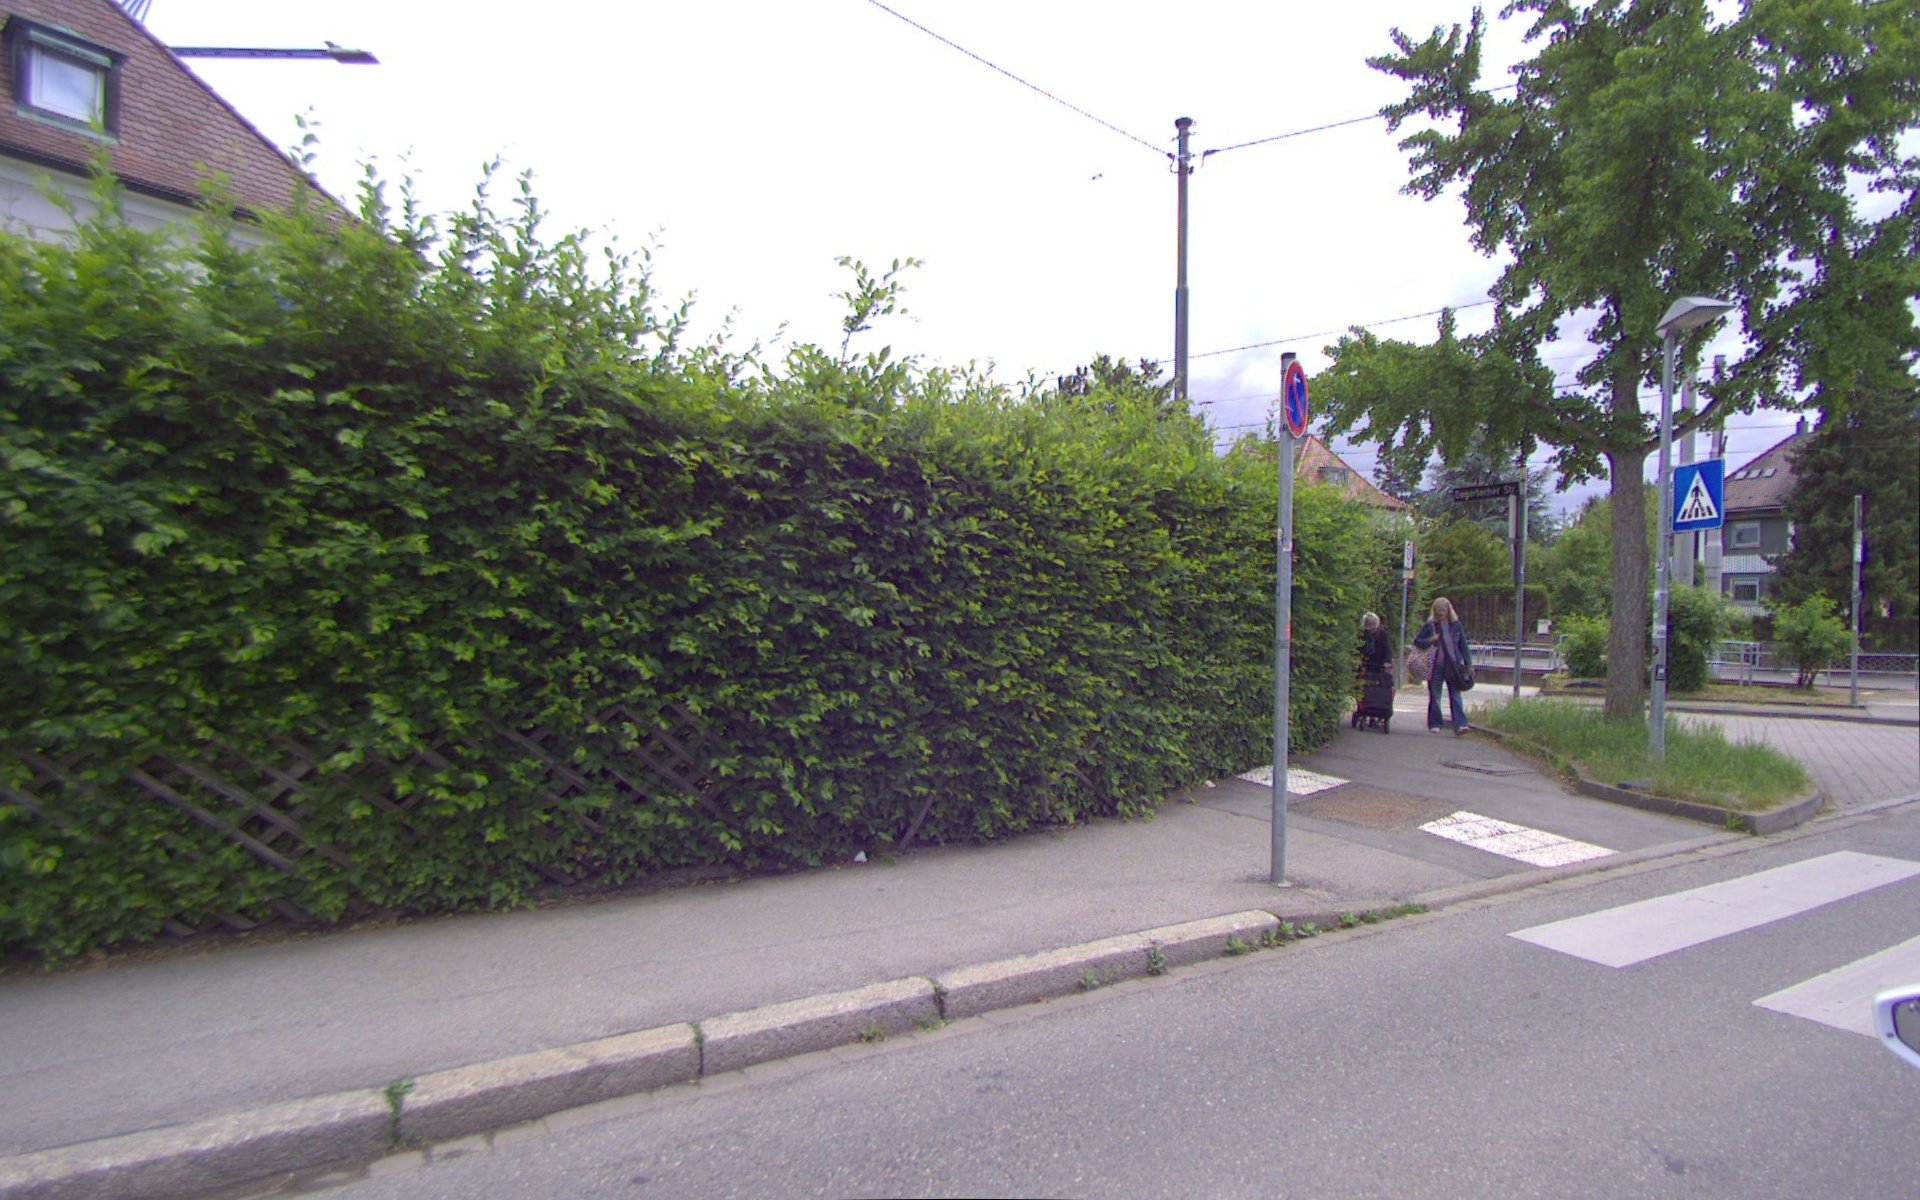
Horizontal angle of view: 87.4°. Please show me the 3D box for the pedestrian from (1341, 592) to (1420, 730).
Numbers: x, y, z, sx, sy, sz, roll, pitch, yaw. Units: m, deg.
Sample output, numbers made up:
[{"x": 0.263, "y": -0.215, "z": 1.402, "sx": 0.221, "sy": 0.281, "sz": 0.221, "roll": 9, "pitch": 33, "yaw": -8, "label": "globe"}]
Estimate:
[{"x": 5.245, "y": 0.743, "z": 12.559, "sx": 0.664, "sy": 1.641, "sz": 0.598, "roll": 2, "pitch": 2, "yaw": 2, "label": "pedestrian"}]

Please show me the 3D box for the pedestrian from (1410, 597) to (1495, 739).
[{"x": 5.964, "y": 0.802, "z": 12.189, "sx": 0.664, "sy": 1.641, "sz": 0.598, "roll": 2, "pitch": 2, "yaw": 2, "label": "pedestrian"}]

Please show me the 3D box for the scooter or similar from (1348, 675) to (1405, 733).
[{"x": 4.998, "y": 1.247, "z": 12.067, "sx": 0.479, "sy": 0.618, "sz": 0.400, "roll": 3, "pitch": 2, "yaw": 2, "label": "scooter or similar"}]
